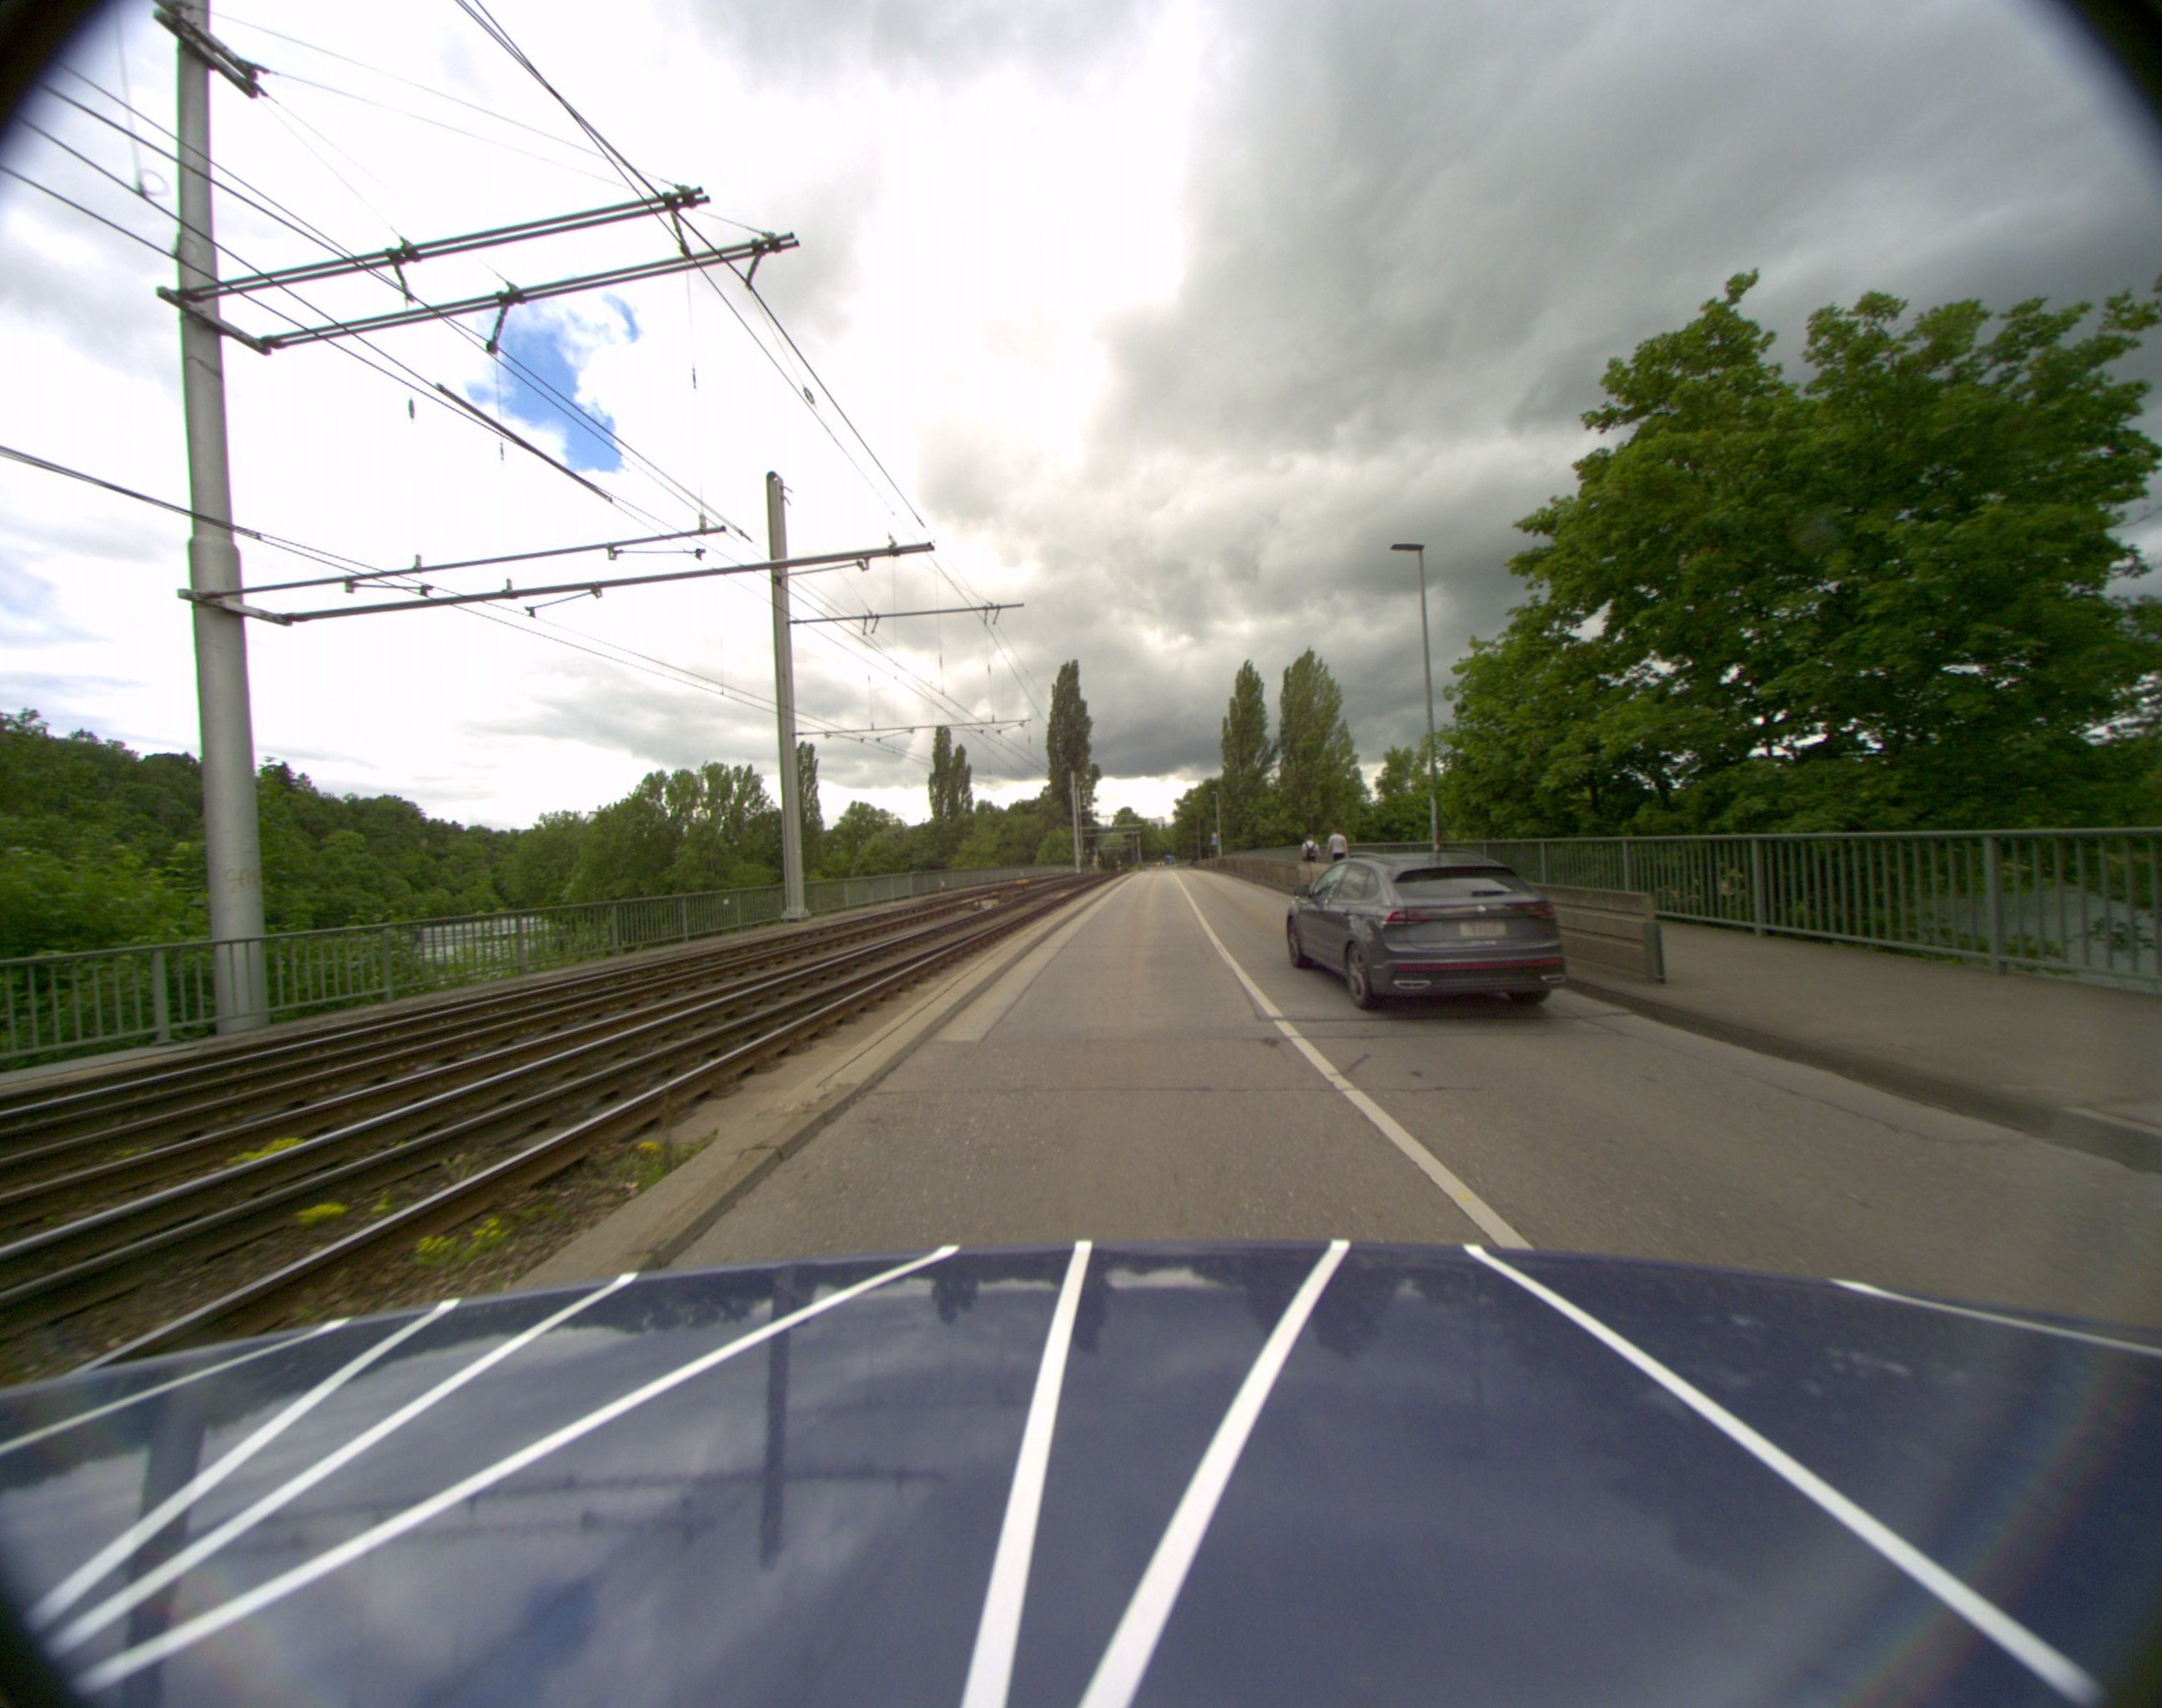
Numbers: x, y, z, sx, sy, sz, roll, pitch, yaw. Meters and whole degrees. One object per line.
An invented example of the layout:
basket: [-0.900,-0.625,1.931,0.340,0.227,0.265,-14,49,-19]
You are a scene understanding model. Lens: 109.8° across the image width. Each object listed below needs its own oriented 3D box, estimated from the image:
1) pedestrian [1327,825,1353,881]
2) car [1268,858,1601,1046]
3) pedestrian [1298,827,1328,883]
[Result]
pedestrian: [8.705,-0.046,25.583,0.606,1.817,0.556,-4,1,7]
car: [3.355,0.803,8.136,1.720,1.459,3.941,-1,0,0]
pedestrian: [7.930,0.030,26.002,0.781,1.817,0.726,-4,1,7]
